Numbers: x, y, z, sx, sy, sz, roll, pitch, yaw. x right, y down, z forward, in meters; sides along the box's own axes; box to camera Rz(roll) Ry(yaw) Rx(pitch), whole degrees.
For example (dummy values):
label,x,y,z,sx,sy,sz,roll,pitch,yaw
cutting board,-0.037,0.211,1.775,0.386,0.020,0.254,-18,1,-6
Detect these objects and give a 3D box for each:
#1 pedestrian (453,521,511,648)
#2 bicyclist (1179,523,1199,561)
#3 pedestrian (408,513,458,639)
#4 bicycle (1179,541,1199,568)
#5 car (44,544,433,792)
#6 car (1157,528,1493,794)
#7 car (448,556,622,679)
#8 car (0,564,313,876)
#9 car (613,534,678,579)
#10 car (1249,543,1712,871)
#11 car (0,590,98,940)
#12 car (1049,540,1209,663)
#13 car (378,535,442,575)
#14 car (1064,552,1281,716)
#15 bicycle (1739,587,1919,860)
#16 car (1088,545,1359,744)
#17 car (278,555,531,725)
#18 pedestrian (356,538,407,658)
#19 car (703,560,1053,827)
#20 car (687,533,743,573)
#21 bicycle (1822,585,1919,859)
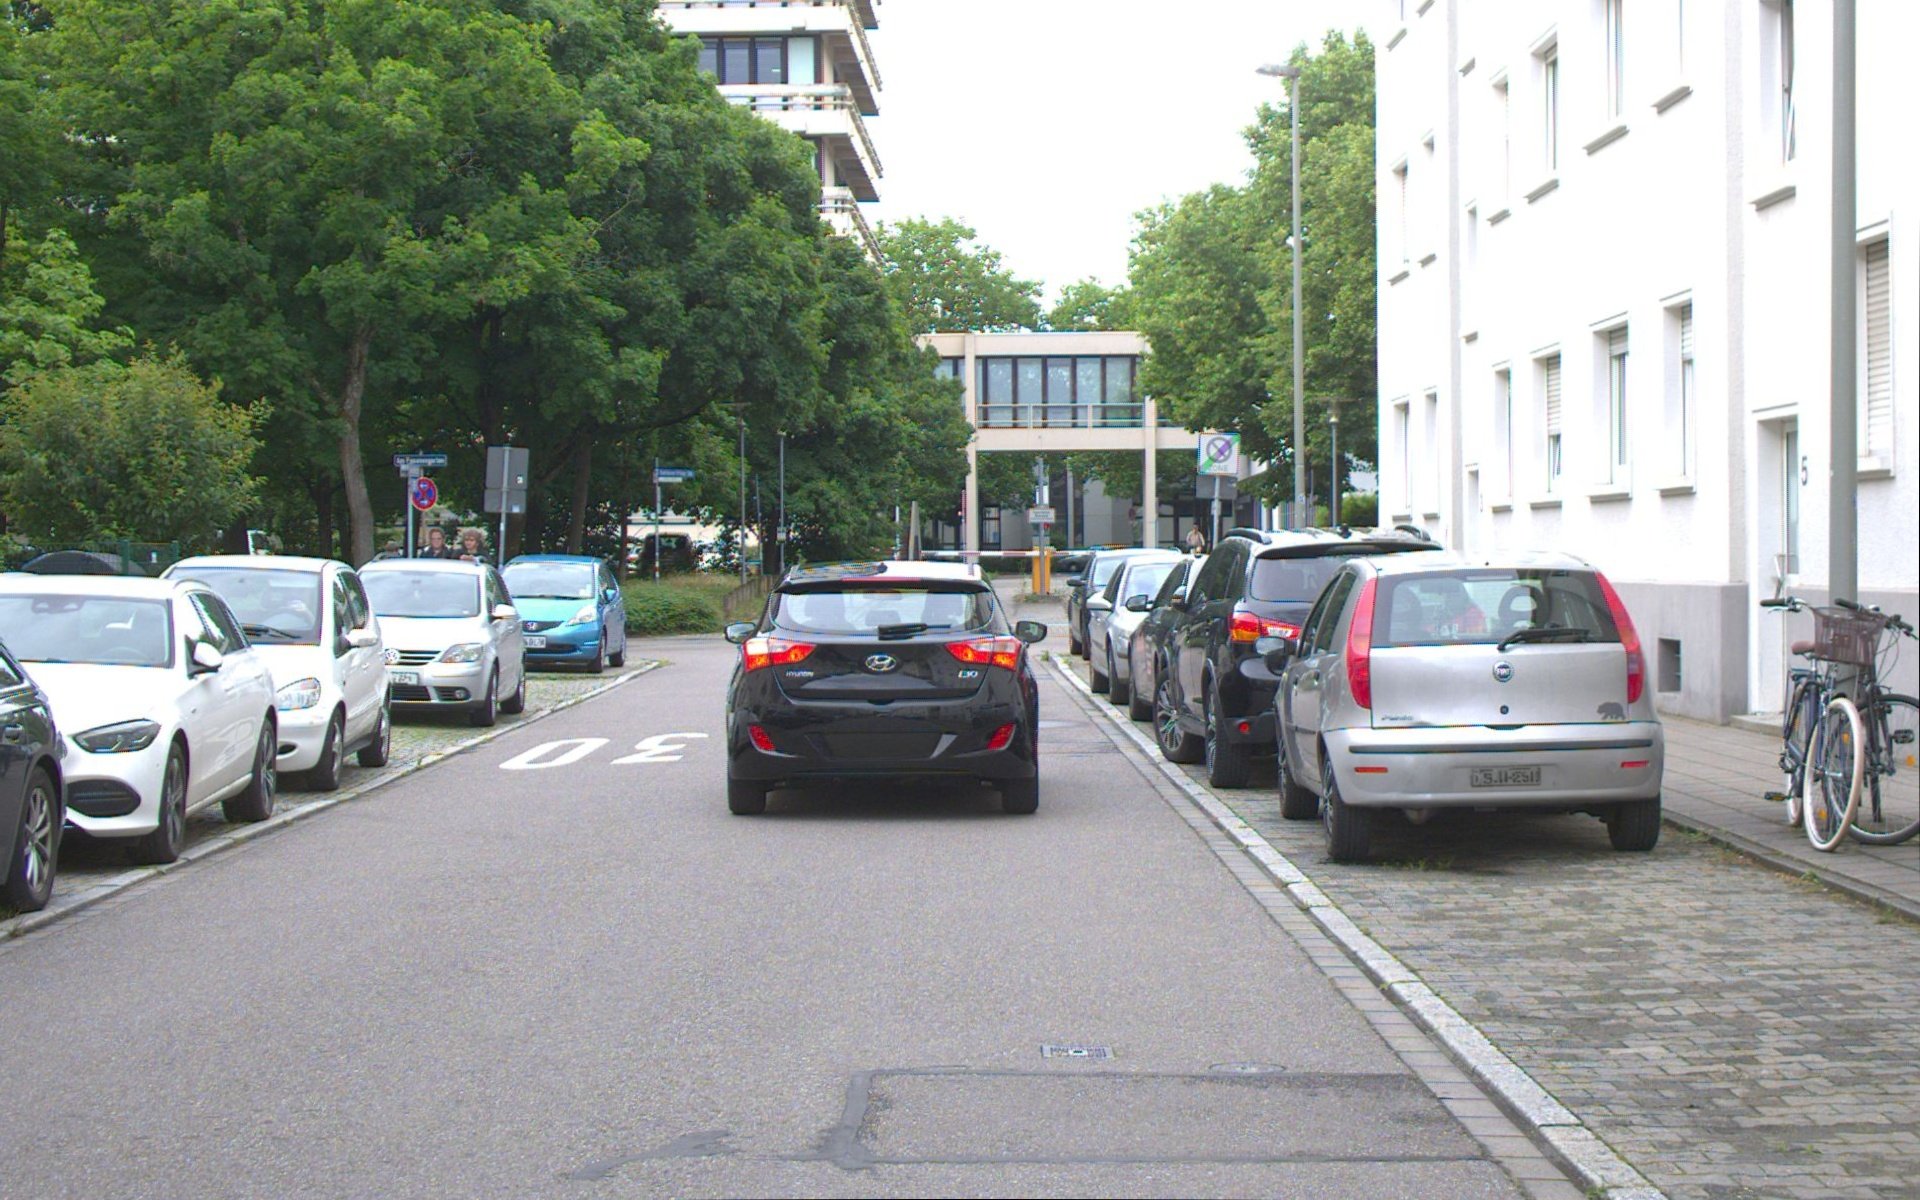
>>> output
label,x,y,z,sx,sy,sz,roll,pitch,yaw
pedestrian,-6.923,-0.229,49.838,0.714,1.825,0.797,0,1,2
bicyclist,8.726,-2.204,130.994,0.693,1.439,0.795,0,1,0
pedestrian,-7.645,-0.354,49.860,0.605,1.825,0.675,0,1,2
bicycle,8.721,-1.736,130.992,0.693,0.993,1.735,0,1,1
car,-5.186,0.423,25.316,1.895,1.593,4.521,2,1,0
car,2.325,0.333,22.830,1.820,1.597,4.091,0,1,0
car,-5.625,0.201,45.944,1.993,1.536,4.001,1,1,-3
car,-4.993,0.568,19.178,1.895,1.447,4.521,2,1,0
car,-9.516,-1.342,104.160,1.665,1.328,3.396,0,1,0
car,2.597,0.470,18.062,1.820,1.498,4.091,-1,1,0
car,-4.982,0.694,13.732,1.895,1.447,4.666,2,1,0
car,2.199,-0.009,45.874,1.820,1.514,4.674,-1,1,-1
car,-18.824,-1.547,117.746,1.665,1.328,3.396,0,1,0
car,2.066,0.283,34.596,1.820,1.514,4.674,0,1,-1
bicycle,4.092,0.544,16.234,0.530,1.171,2.036,-1,1,6
car,2.112,0.305,28.698,1.820,1.514,4.674,0,1,-1
car,-5.362,0.343,33.646,1.993,1.536,4.001,1,1,-3
pedestrian,-8.315,-0.040,49.399,0.600,1.707,0.648,0,1,2
car,-0.438,0.488,20.939,1.903,1.428,4.233,-1,1,0
car,-8.369,-1.616,117.591,1.665,1.328,3.396,0,1,0
bicycle,4.526,0.535,16.198,0.576,1.171,2.036,-1,1,5
